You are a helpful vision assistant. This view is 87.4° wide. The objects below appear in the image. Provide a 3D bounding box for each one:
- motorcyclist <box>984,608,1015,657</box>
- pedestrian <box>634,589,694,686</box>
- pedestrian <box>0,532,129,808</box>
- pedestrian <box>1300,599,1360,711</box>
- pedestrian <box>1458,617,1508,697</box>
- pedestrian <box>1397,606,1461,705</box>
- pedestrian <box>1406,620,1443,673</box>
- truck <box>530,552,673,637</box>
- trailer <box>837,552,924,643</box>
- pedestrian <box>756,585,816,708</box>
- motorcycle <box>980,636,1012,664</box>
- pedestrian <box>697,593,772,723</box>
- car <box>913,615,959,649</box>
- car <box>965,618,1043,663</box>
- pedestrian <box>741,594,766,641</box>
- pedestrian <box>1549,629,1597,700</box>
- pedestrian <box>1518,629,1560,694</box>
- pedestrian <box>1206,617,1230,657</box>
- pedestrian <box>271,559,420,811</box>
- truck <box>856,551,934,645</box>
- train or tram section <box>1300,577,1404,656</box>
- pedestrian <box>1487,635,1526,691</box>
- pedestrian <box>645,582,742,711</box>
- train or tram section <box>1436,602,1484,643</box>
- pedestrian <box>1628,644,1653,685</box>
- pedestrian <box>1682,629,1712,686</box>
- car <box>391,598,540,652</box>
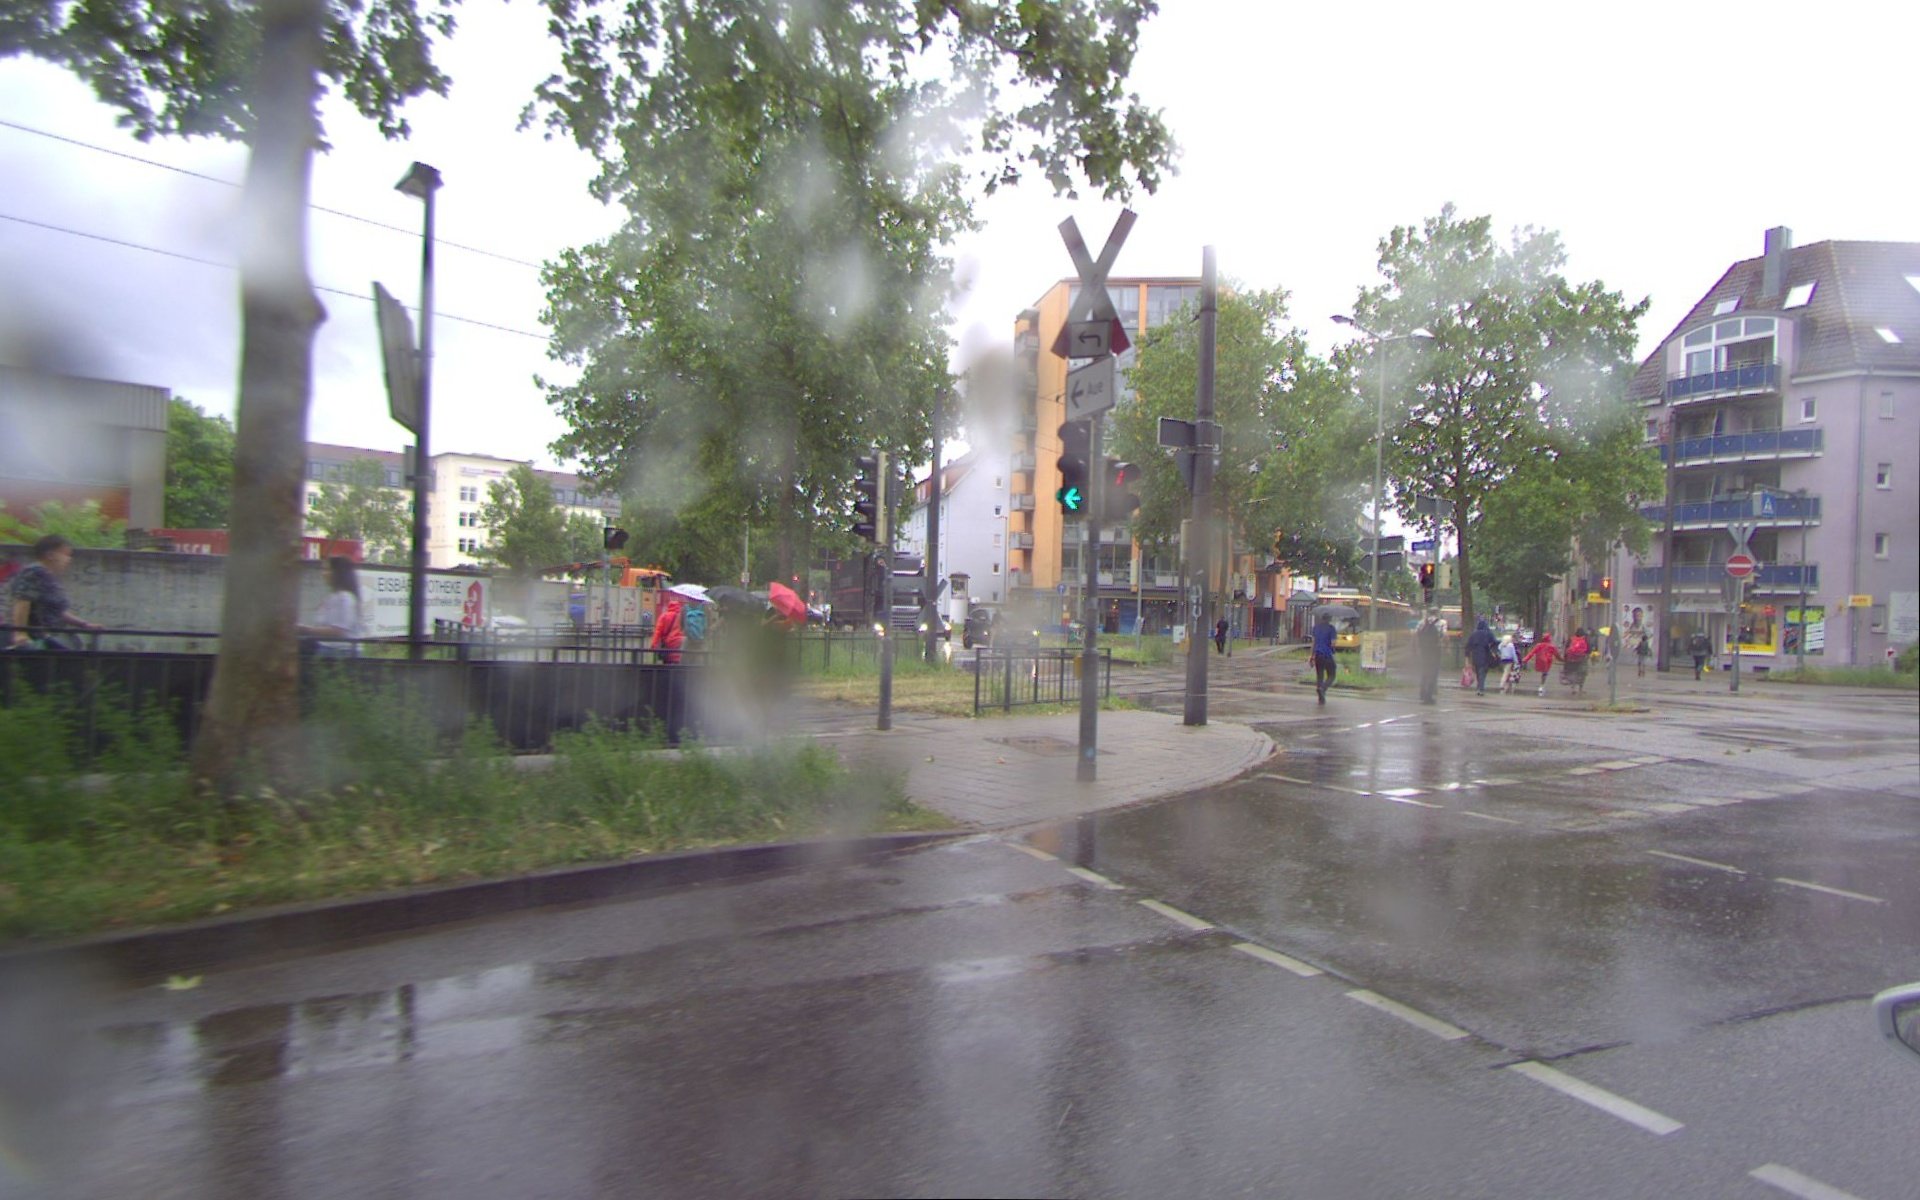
[{"bbox_3d":[1.335,1.105,34.298,0.768,1.635,0.772,2,-1,-20],"label":"motorcyclist"},{"bbox_3d":[-5.003,0.635,17.030,0.782,1.593,0.659,-1,-1,2],"label":"pedestrian"},{"bbox_3d":[-6.461,0.464,7.106,0.838,1.828,0.818,2,0,-41],"label":"pedestrian"},{"bbox_3d":[6.505,0.951,17.703,0.854,1.888,0.892,2,0,15],"label":"pedestrian"},{"bbox_3d":[11.513,1.256,22.146,0.823,1.721,0.689,-1,-1,16],"label":"pedestrian"},{"bbox_3d":[8.798,1.025,18.843,0.854,1.778,0.826,2,0,40],"label":"pedestrian"},{"bbox_3d":[16.337,1.630,35.366,0.940,1.789,0.953,2,-1,12],"label":"pedestrian"},{"bbox_3d":[-14.822,-0.186,41.887,5.384,3.205,2.164,2,-1,-16],"label":"truck"},{"bbox_3d":[-4.069,-0.076,48.987,2.593,3.899,10.114,2,-1,-13],"label":"trailer"},{"bbox_3d":[-2.800,0.734,16.098,0.769,1.890,0.936,2,-1,-18],"label":"pedestrian"},{"bbox_3d":[1.220,1.698,34.379,0.436,0.853,1.539,2,-1,-23],"label":"motorcycle"},{"bbox_3d":[-3.036,0.768,13.556,0.782,1.705,0.660,-1,-1,8],"label":"pedestrian"},{"bbox_3d":[-1.216,1.547,49.680,1.358,1.523,3.261,1,0,-19],"label":"car"},{"bbox_3d":[1.636,1.524,38.751,1.585,1.551,4.016,1,0,-19],"label":"car"},{"bbox_3d":[-8.571,0.724,41.733,0.765,1.890,0.940,2,-1,3],"label":"pedestrian"},{"bbox_3d":[14.706,1.534,24.101,0.810,1.646,0.724,1,0,-37],"label":"pedestrian"},{"bbox_3d":[14.252,1.502,24.726,0.654,1.540,0.676,2,-1,-38],"label":"pedestrian"},{"bbox_3d":[11.825,1.675,46.079,0.941,1.789,0.953,2,-1,19],"label":"pedestrian"},{"bbox_3d":[-4.582,0.595,7.491,0.675,1.752,0.752,2,0,42],"label":"pedestrian"},{"bbox_3d":[-2.947,-0.038,44.303,2.593,3.842,4.444,2,-1,-14],"label":"truck"},{"bbox_3d":[22.637,1.057,57.133,2.839,3.818,17.214,2,-1,30],"label":"train or tram section"},{"bbox_3d":[13.898,1.586,25.544,0.704,1.367,0.650,2,0,-44],"label":"pedestrian"},{"bbox_3d":[-3.985,0.684,15.101,0.966,1.851,1.077,-1,-1,15],"label":"pedestrian"},{"bbox_3d":[47.792,2.194,95.744,2.819,3.592,15.340,2,-1,31],"label":"train or tram section"},{"bbox_3d":[24.794,2.336,36.602,0.638,1.414,0.782,1,-1,25],"label":"pedestrian"},{"bbox_3d":[25.028,1.941,34.109,0.777,1.880,0.679,2,0,36],"label":"pedestrian"},{"bbox_3d":[-13.549,0.678,27.570,3.447,1.323,1.405,2,-1,9],"label":"car"}]
